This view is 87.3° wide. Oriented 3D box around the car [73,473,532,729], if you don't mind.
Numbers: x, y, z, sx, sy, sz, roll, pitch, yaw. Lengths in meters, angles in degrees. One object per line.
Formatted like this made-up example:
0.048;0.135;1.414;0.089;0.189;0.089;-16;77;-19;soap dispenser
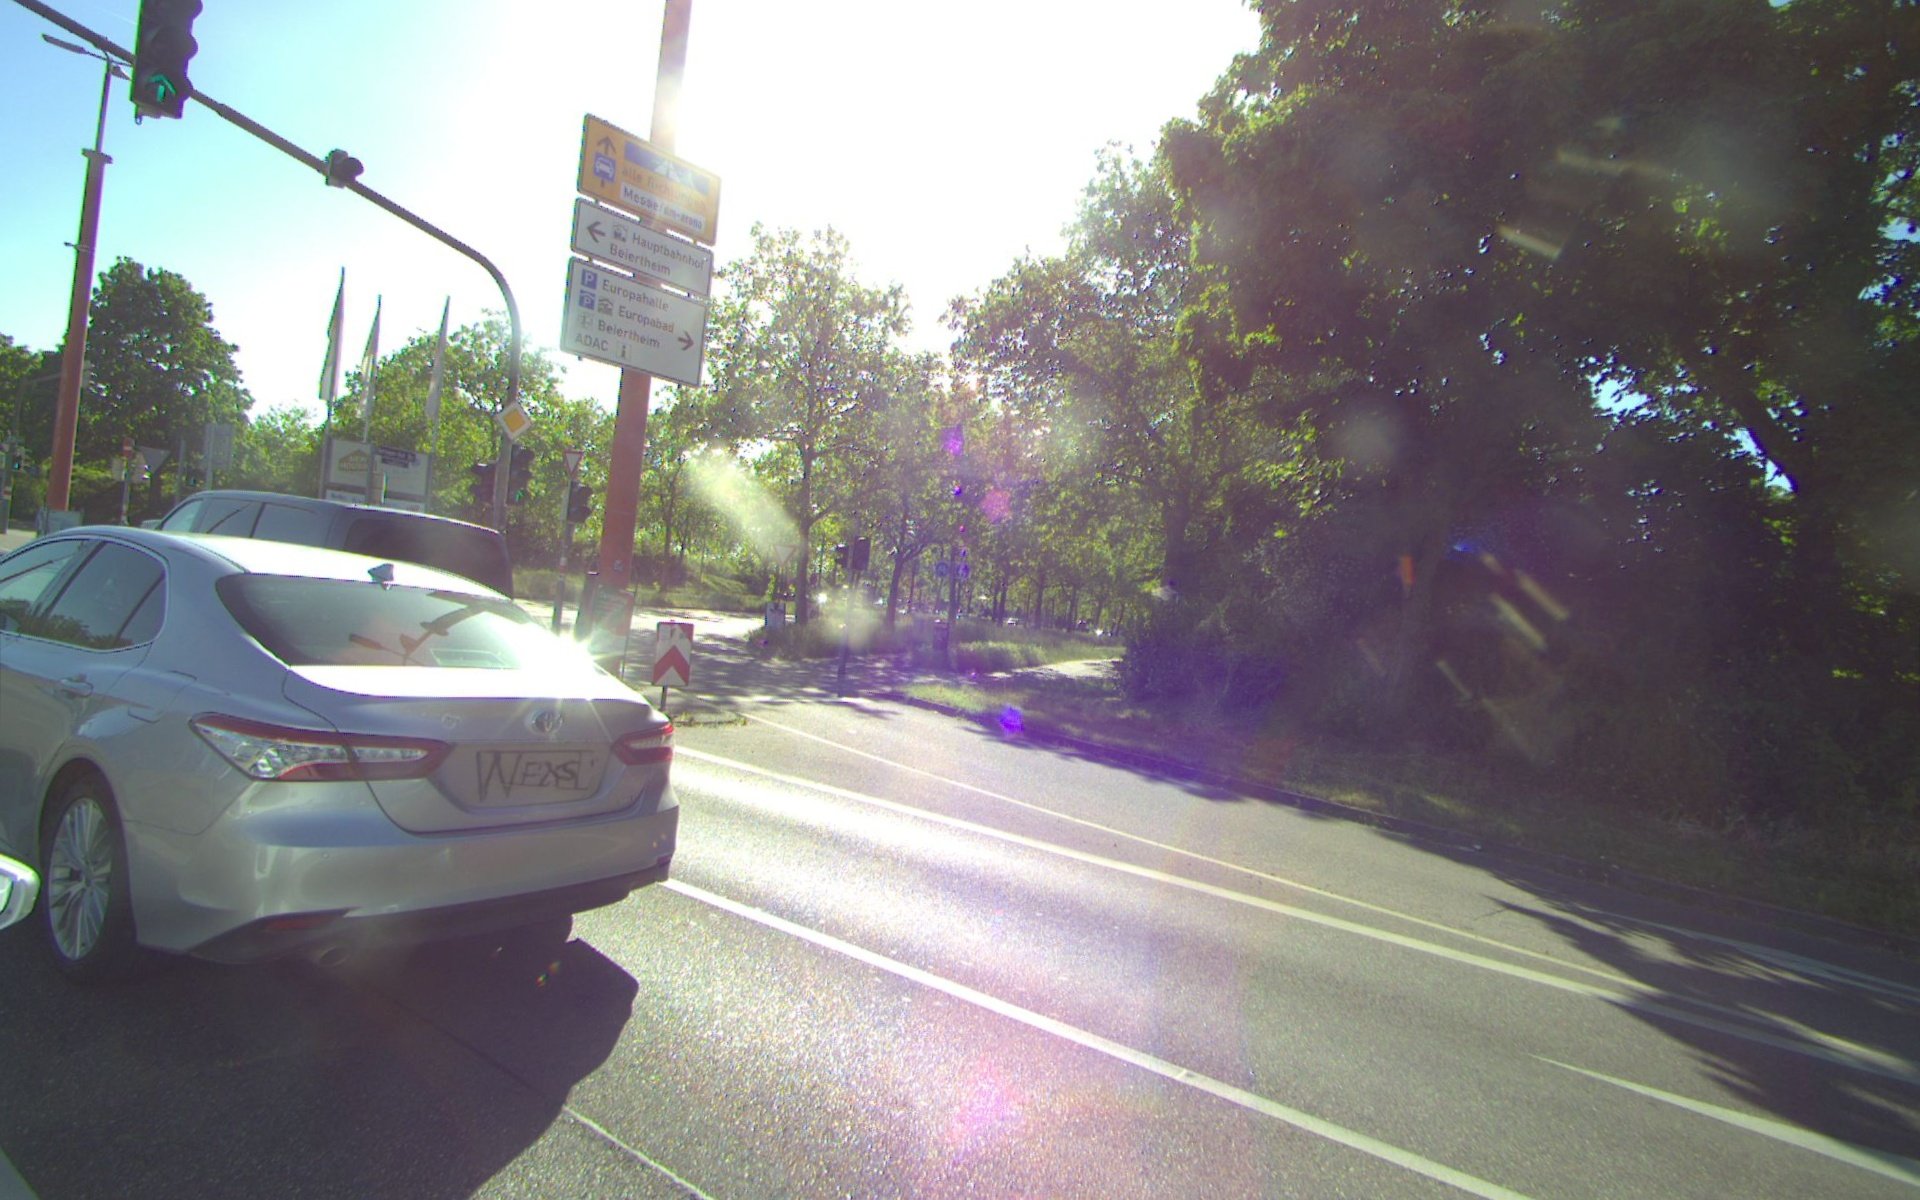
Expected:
-6.706;-0.091;10.058;5.019;1.875;1.806;7;0;32;car

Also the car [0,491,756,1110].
-3.338;0.419;4.578;4.604;1.510;1.808;7;-2;32;car

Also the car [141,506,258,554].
-36.294;-3.318;48.076;4.269;1.655;1.749;8;-1;-42;car
